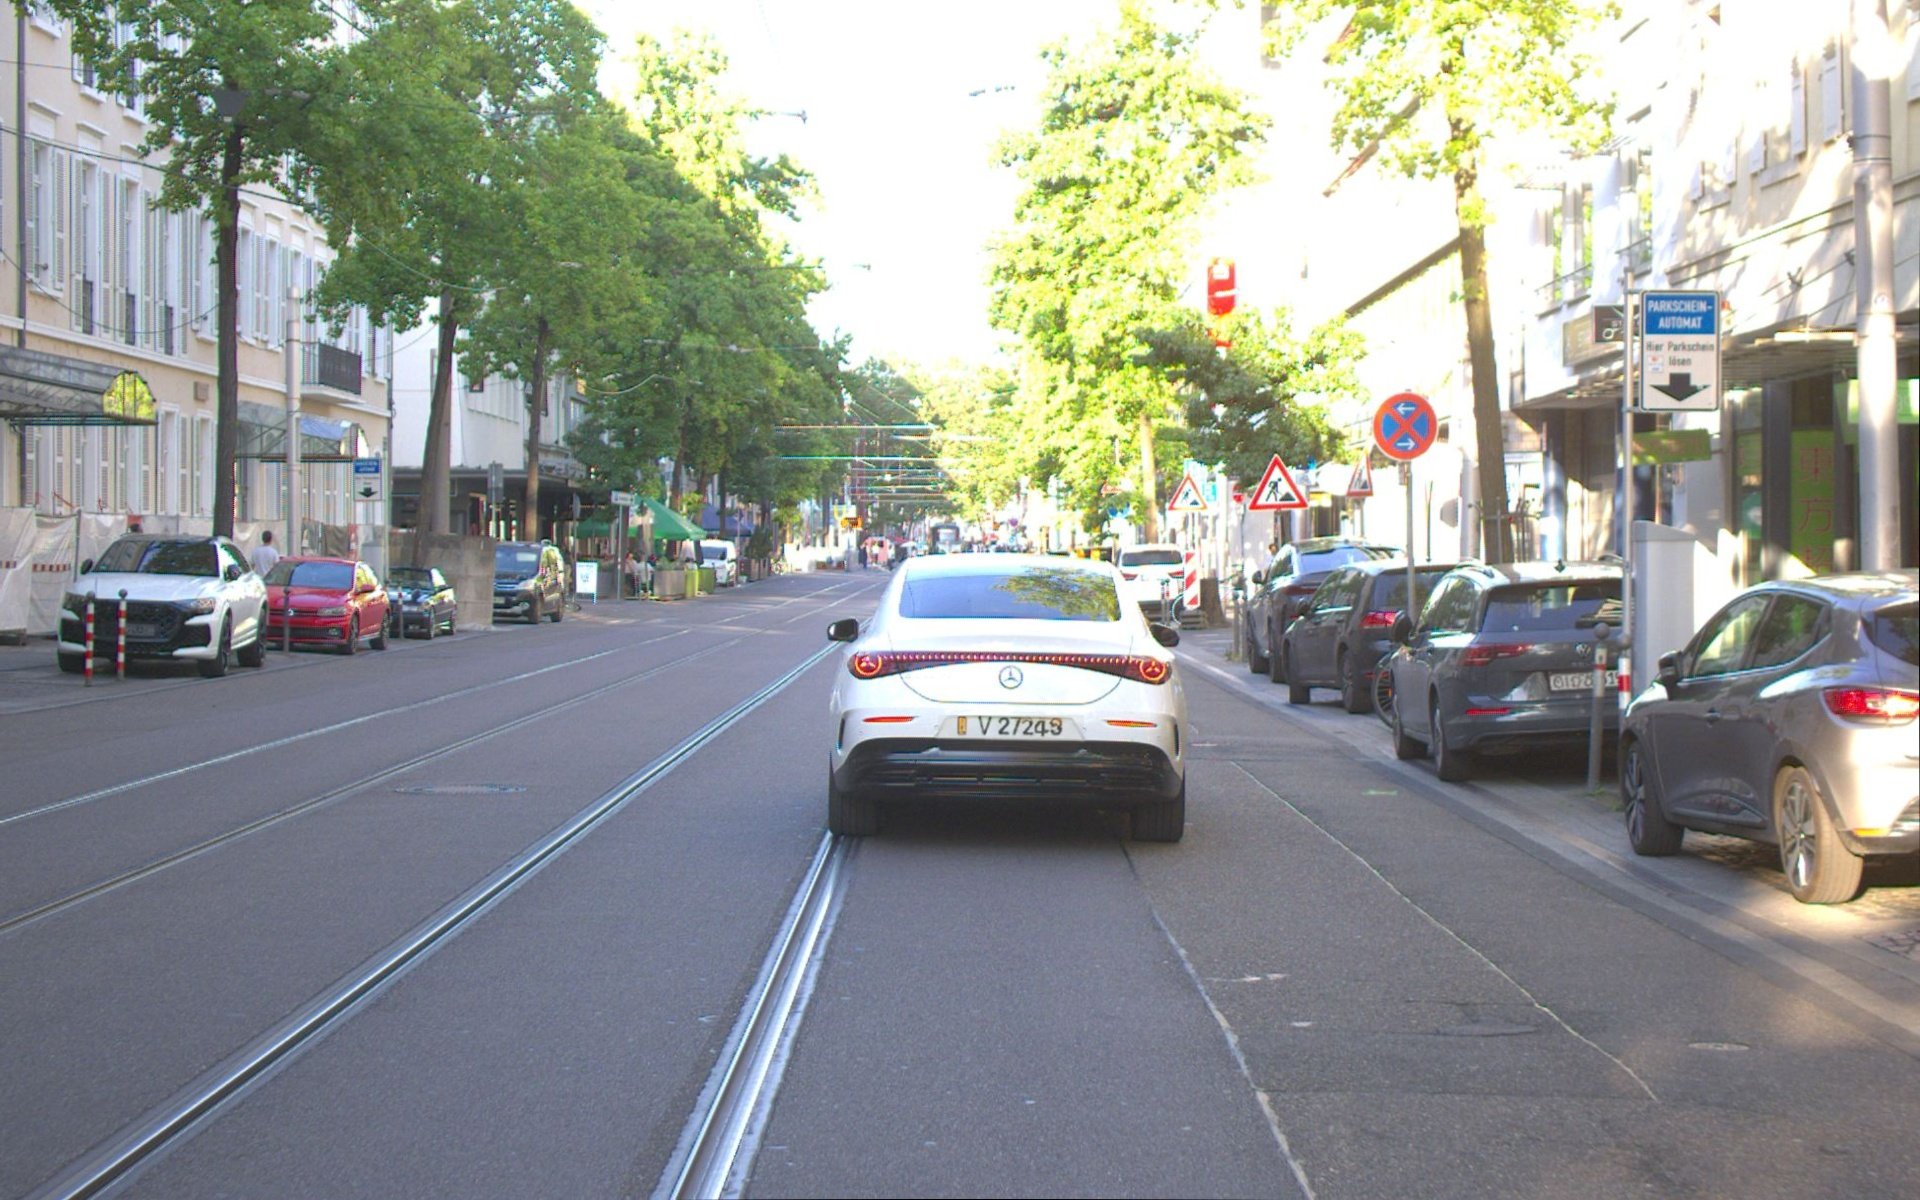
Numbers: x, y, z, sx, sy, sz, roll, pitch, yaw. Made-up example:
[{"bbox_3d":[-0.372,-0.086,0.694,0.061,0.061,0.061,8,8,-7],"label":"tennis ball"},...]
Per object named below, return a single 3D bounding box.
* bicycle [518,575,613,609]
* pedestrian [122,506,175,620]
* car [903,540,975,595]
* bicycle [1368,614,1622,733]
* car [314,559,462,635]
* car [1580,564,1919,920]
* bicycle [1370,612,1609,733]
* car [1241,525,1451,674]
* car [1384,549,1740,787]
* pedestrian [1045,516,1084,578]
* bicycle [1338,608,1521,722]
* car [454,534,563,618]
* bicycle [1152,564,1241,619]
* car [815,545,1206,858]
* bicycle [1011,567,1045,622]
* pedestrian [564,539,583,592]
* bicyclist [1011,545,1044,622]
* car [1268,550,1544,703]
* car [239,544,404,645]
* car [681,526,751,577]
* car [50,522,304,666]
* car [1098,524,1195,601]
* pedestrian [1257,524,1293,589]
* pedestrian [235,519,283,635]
[{"bbox_3d":[-9.725,-0.195,84.773,2.255,0.827,0.716,0,1,23],"label":"bicycle"},{"bbox_3d":[-12.846,-0.585,54.416,0.707,1.800,0.675,0,1,-3],"label":"pedestrian"},{"bbox_3d":[-1.197,-1.871,198.314,4.039,3.103,8.431,0,1,0],"label":"car"},{"bbox_3d":[4.381,0.597,28.212,2.038,0.961,0.282,0,1,6],"label":"bicycle"},{"bbox_3d":[-10.206,-0.077,61.616,1.993,1.287,4.000,0,1,0],"label":"car"},{"bbox_3d":[4.391,0.578,16.410,1.814,1.481,4.001,0,1,-5],"label":"car"},{"bbox_3d":[4.284,0.581,27.879,1.896,0.961,0.332,0,1,6],"label":"bicycle"},{"bbox_3d":[4.622,-0.056,41.861,1.993,1.707,4.866,0,1,0],"label":"car"},{"bbox_3d":[4.124,0.411,24.172,1.871,1.448,4.106,-2,1,2],"label":"car"},{"bbox_3d":[2.986,-1.512,98.564,0.919,1.768,0.874,0,1,-14],"label":"pedestrian"},{"bbox_3d":[4.050,0.557,29.734,1.538,0.961,0.496,0,1,5],"label":"bicycle"},{"bbox_3d":[-9.826,-0.532,74.982,1.553,1.789,3.166,0,1,9],"label":"car"},{"bbox_3d":[4.653,-0.165,67.647,1.723,1.058,0.581,0,1,4],"label":"bicycle"},{"bbox_3d":[0.206,0.459,18.616,1.868,1.464,4.043,1,1,-1],"label":"car"},{"bbox_3d":[1.499,-0.135,75.983,0.740,1.184,2.160,0,0,1],"label":"bicycle"},{"bbox_3d":[-12.097,-1.083,107.556,0.517,1.647,0.650,0,1,0],"label":"pedestrian"},{"bbox_3d":[1.488,-0.365,75.933,0.724,1.697,0.811,0,1,1],"label":"bicyclist"},{"bbox_3d":[4.377,0.224,34.294,1.837,1.431,4.001,0,1,-6],"label":"car"},{"bbox_3d":[-9.846,-0.104,53.294,1.689,1.494,4.234,0,1,1],"label":"car"},{"bbox_3d":[-9.761,-1.943,137.863,1.994,2.007,3.999,0,1,8],"label":"car"},{"bbox_3d":[-9.770,-0.103,43.298,1.962,1.686,5.013,0,1,1],"label":"car"},{"bbox_3d":[4.240,-0.878,78.744,1.993,1.722,4.241,0,1,0],"label":"car"},{"bbox_3d":[8.575,-1.177,93.642,0.799,1.768,0.683,0,1,-12],"label":"pedestrian"},{"bbox_3d":[-12.146,-0.395,59.579,0.707,1.997,0.675,0,1,-3],"label":"pedestrian"}]
